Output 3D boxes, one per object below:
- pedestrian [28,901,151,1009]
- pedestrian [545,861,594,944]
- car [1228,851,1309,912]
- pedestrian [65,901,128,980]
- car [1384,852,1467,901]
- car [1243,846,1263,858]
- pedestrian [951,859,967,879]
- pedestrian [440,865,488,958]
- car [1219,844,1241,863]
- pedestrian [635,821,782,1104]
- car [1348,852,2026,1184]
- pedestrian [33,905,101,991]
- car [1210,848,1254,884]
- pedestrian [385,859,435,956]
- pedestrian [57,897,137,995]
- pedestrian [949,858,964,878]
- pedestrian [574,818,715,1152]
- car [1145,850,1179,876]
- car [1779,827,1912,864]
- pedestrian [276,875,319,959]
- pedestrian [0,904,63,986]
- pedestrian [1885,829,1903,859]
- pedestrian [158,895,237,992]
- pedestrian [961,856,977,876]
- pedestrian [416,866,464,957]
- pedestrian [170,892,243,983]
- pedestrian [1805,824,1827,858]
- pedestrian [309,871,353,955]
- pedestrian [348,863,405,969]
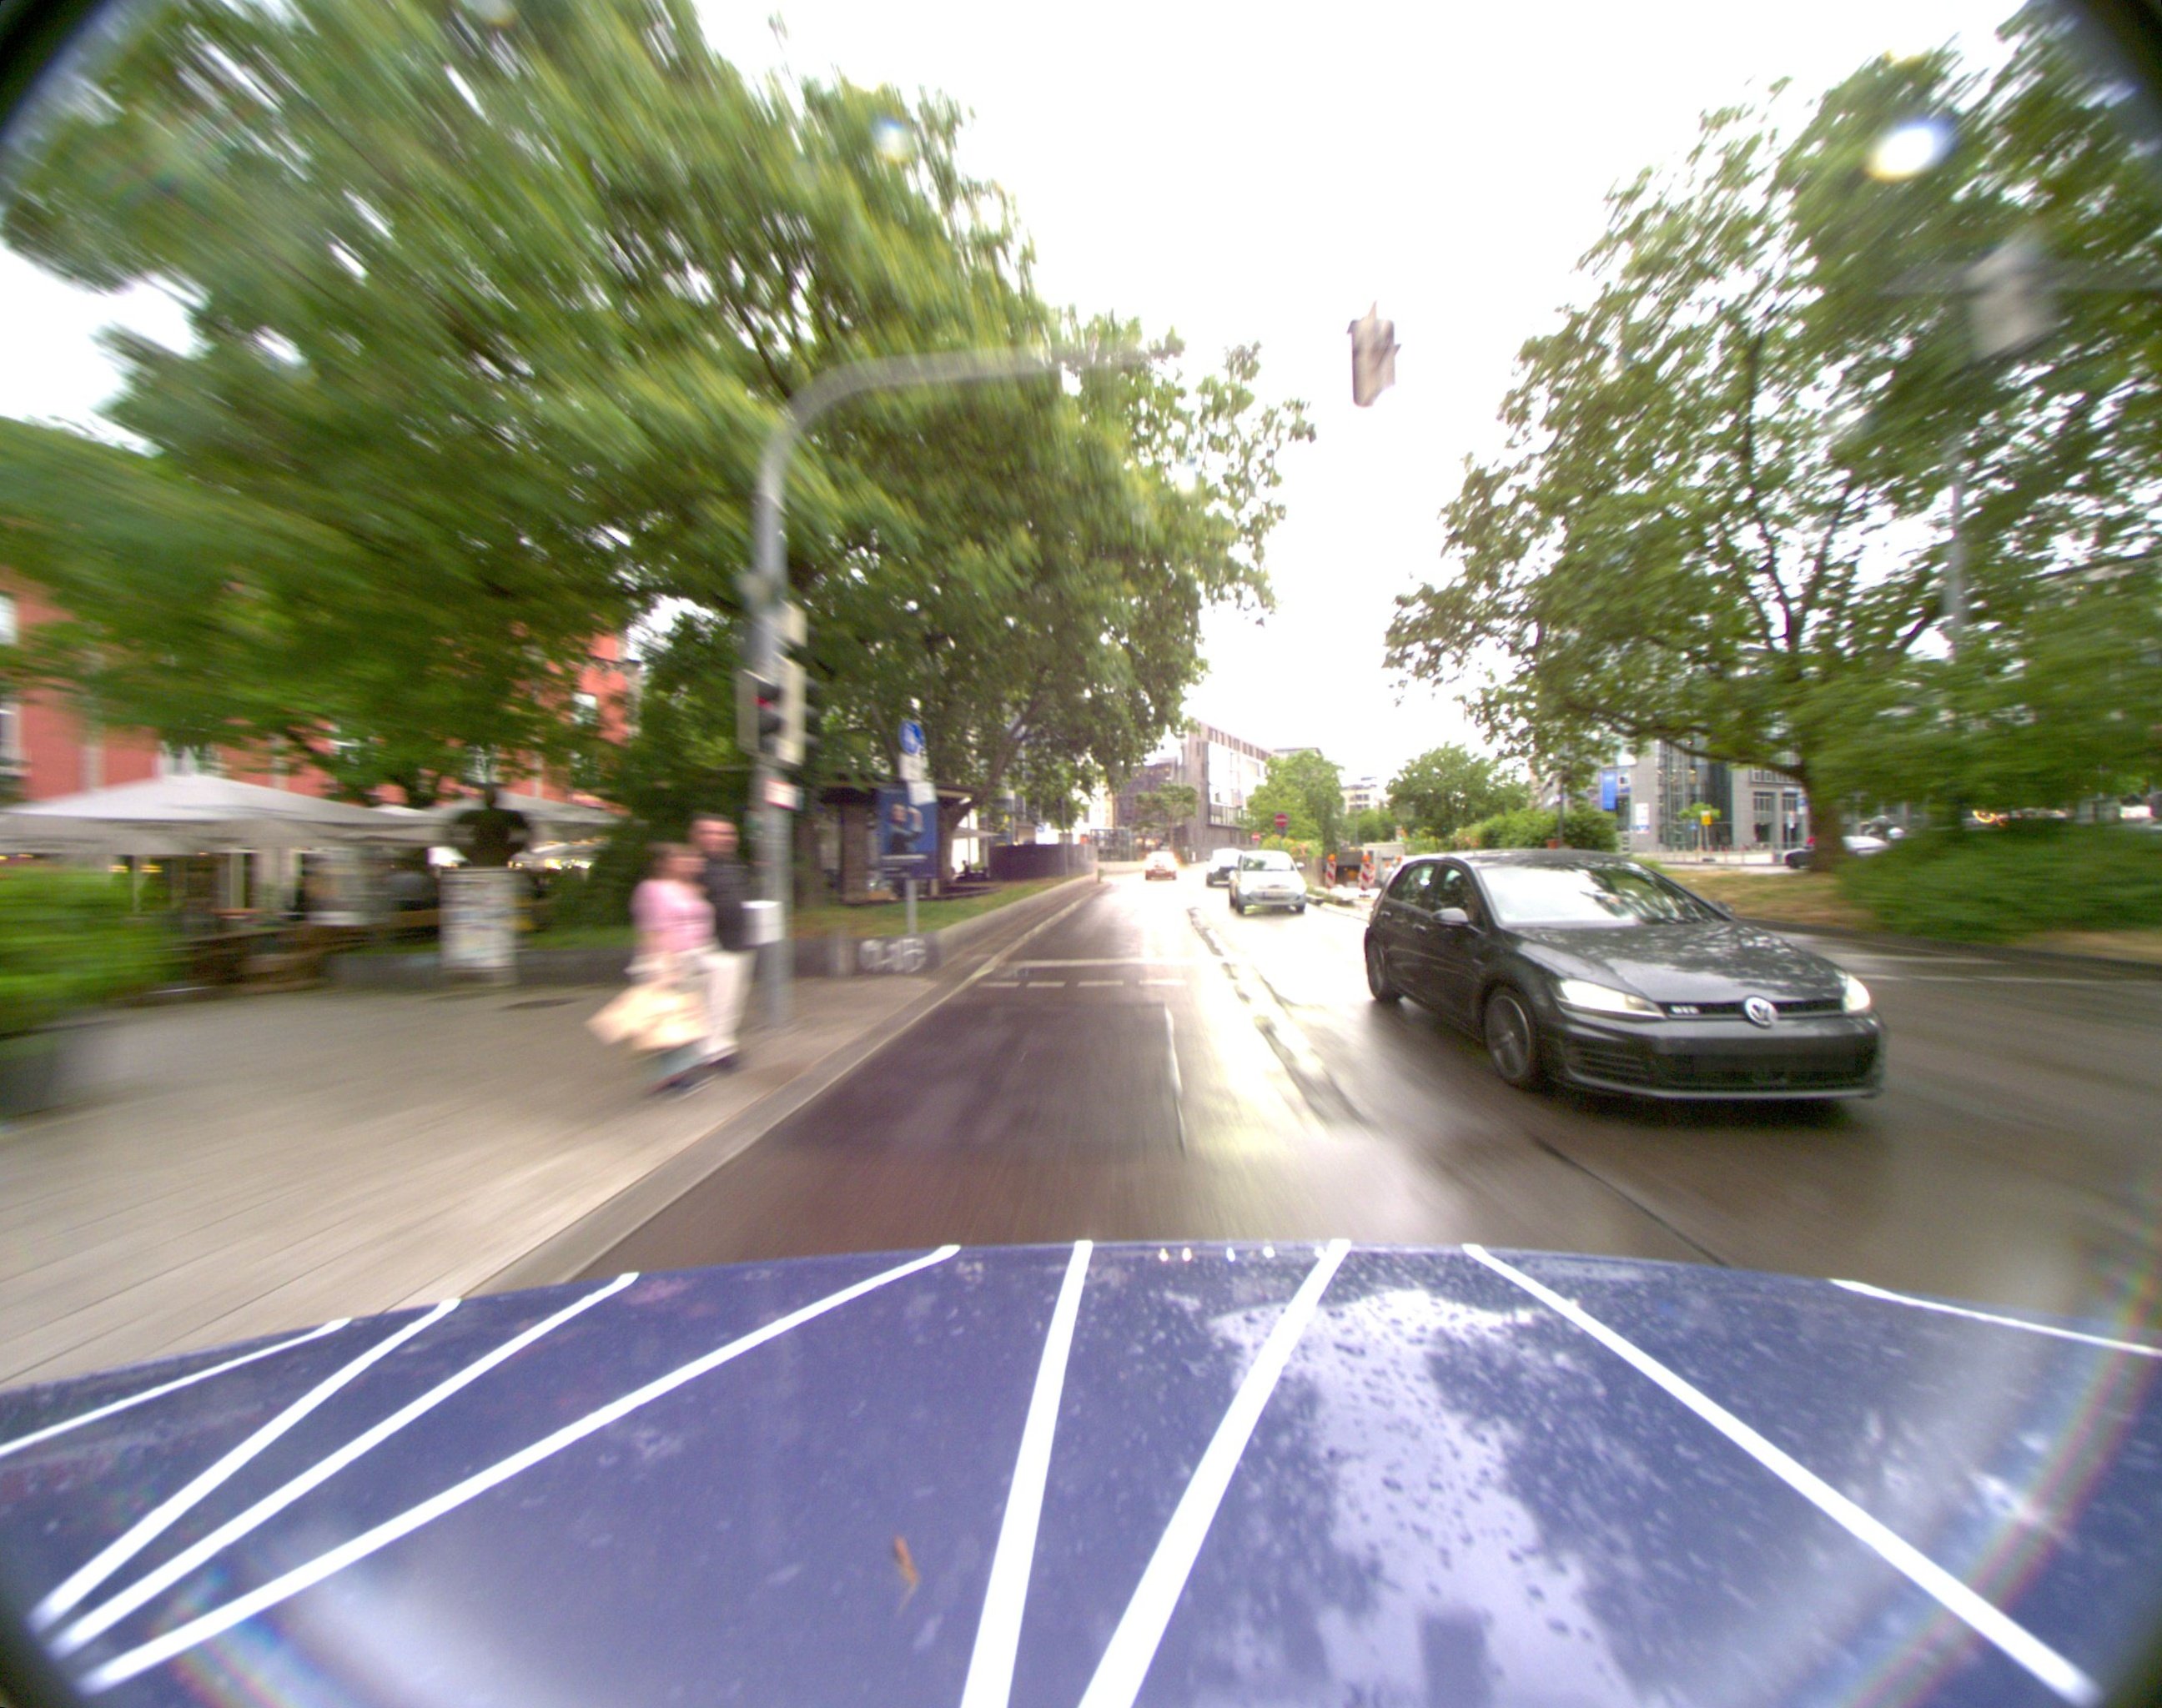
[{"bbox_3d":[-13.545,1.346,10.410,0.640,1.319,0.948,-2,1,38],"label":"pedestrian"},{"bbox_3d":[-10.823,1.013,16.077,0.570,1.671,0.684,-2,1,44],"label":"pedestrian"},{"bbox_3d":[4.841,0.649,20.010,1.611,1.433,3.495,0,1,6],"label":"car"},{"bbox_3d":[-16.563,1.433,12.788,0.632,1.233,0.577,-2,1,35],"label":"pedestrian"},{"bbox_3d":[12.646,0.766,28.113,1.780,1.587,4.002,-1,1,9],"label":"car"},{"bbox_3d":[26.315,-0.316,116.111,1.995,1.734,3.916,-1,1,26],"label":"car"},{"bbox_3d":[-5.461,0.654,33.902,0.574,0.867,0.508,-1,2,-25],"label":"pedestrian"},{"bbox_3d":[-11.531,1.055,14.197,0.498,1.671,0.548,-2,1,43],"label":"pedestrian"},{"bbox_3d":[14.633,-0.090,74.398,1.997,1.734,3.913,-2,0,12],"label":"car"},{"bbox_3d":[-2.523,0.697,5.193,0.634,1.824,0.563,-1,2,8],"label":"pedestrian"},{"bbox_3d":[3.446,0.753,5.496,1.788,1.444,4.124,-2,0,4],"label":"car"},{"bbox_3d":[-15.693,1.436,11.760,0.632,1.233,0.577,-2,1,36],"label":"pedestrian"},{"bbox_3d":[6.480,0.484,32.870,1.715,1.433,3.496,0,1,9],"label":"car"},{"bbox_3d":[-12.022,0.939,13.607,0.498,1.671,0.548,-2,1,43],"label":"pedestrian"},{"bbox_3d":[-14.361,1.317,11.089,0.717,1.319,0.643,-2,1,36],"label":"pedestrian"},{"bbox_3d":[-5.732,0.636,35.043,0.574,0.867,0.508,-1,2,-25],"label":"pedestrian"},{"bbox_3d":[-2.570,0.712,4.542,0.592,1.824,0.628,-2,2,-22],"label":"pedestrian"},{"bbox_3d":[4.320,0.436,40.396,1.715,1.274,3.495,-1,1,7],"label":"car"},{"bbox_3d":[34.574,-0.397,34.577,2.010,1.525,4.714,-1,1,12],"label":"car"},{"bbox_3d":[-16.192,1.288,15.703,0.498,1.671,0.548,-2,1,43],"label":"pedestrian"},{"bbox_3d":[-17.066,1.453,12.339,0.632,1.233,0.577,-2,1,35],"label":"pedestrian"},{"bbox_3d":[44.827,-0.556,41.885,0.563,1.618,0.577,-2,2,-35],"label":"pedestrian"},{"bbox_3d":[-12.963,1.285,11.148,0.717,1.319,0.643,-2,1,36],"label":"pedestrian"},{"bbox_3d":[-5.058,0.552,34.401,0.574,0.867,0.508,-1,2,-25],"label":"pedestrian"},{"bbox_3d":[-12.226,1.075,14.494,0.603,1.671,0.548,-2,1,42],"label":"pedestrian"},{"bbox_3d":[-13.705,1.286,11.908,0.717,1.319,0.643,-2,1,36],"label":"pedestrian"},{"bbox_3d":[39.952,-0.706,41.303,0.747,1.779,0.424,-2,1,36],"label":"pedestrian"},{"bbox_3d":[-15.463,1.204,15.668,0.498,1.671,0.548,-2,1,43],"label":"pedestrian"},{"bbox_3d":[-12.758,1.101,13.764,0.498,1.825,0.643,-2,1,42],"label":"pedestrian"}]
